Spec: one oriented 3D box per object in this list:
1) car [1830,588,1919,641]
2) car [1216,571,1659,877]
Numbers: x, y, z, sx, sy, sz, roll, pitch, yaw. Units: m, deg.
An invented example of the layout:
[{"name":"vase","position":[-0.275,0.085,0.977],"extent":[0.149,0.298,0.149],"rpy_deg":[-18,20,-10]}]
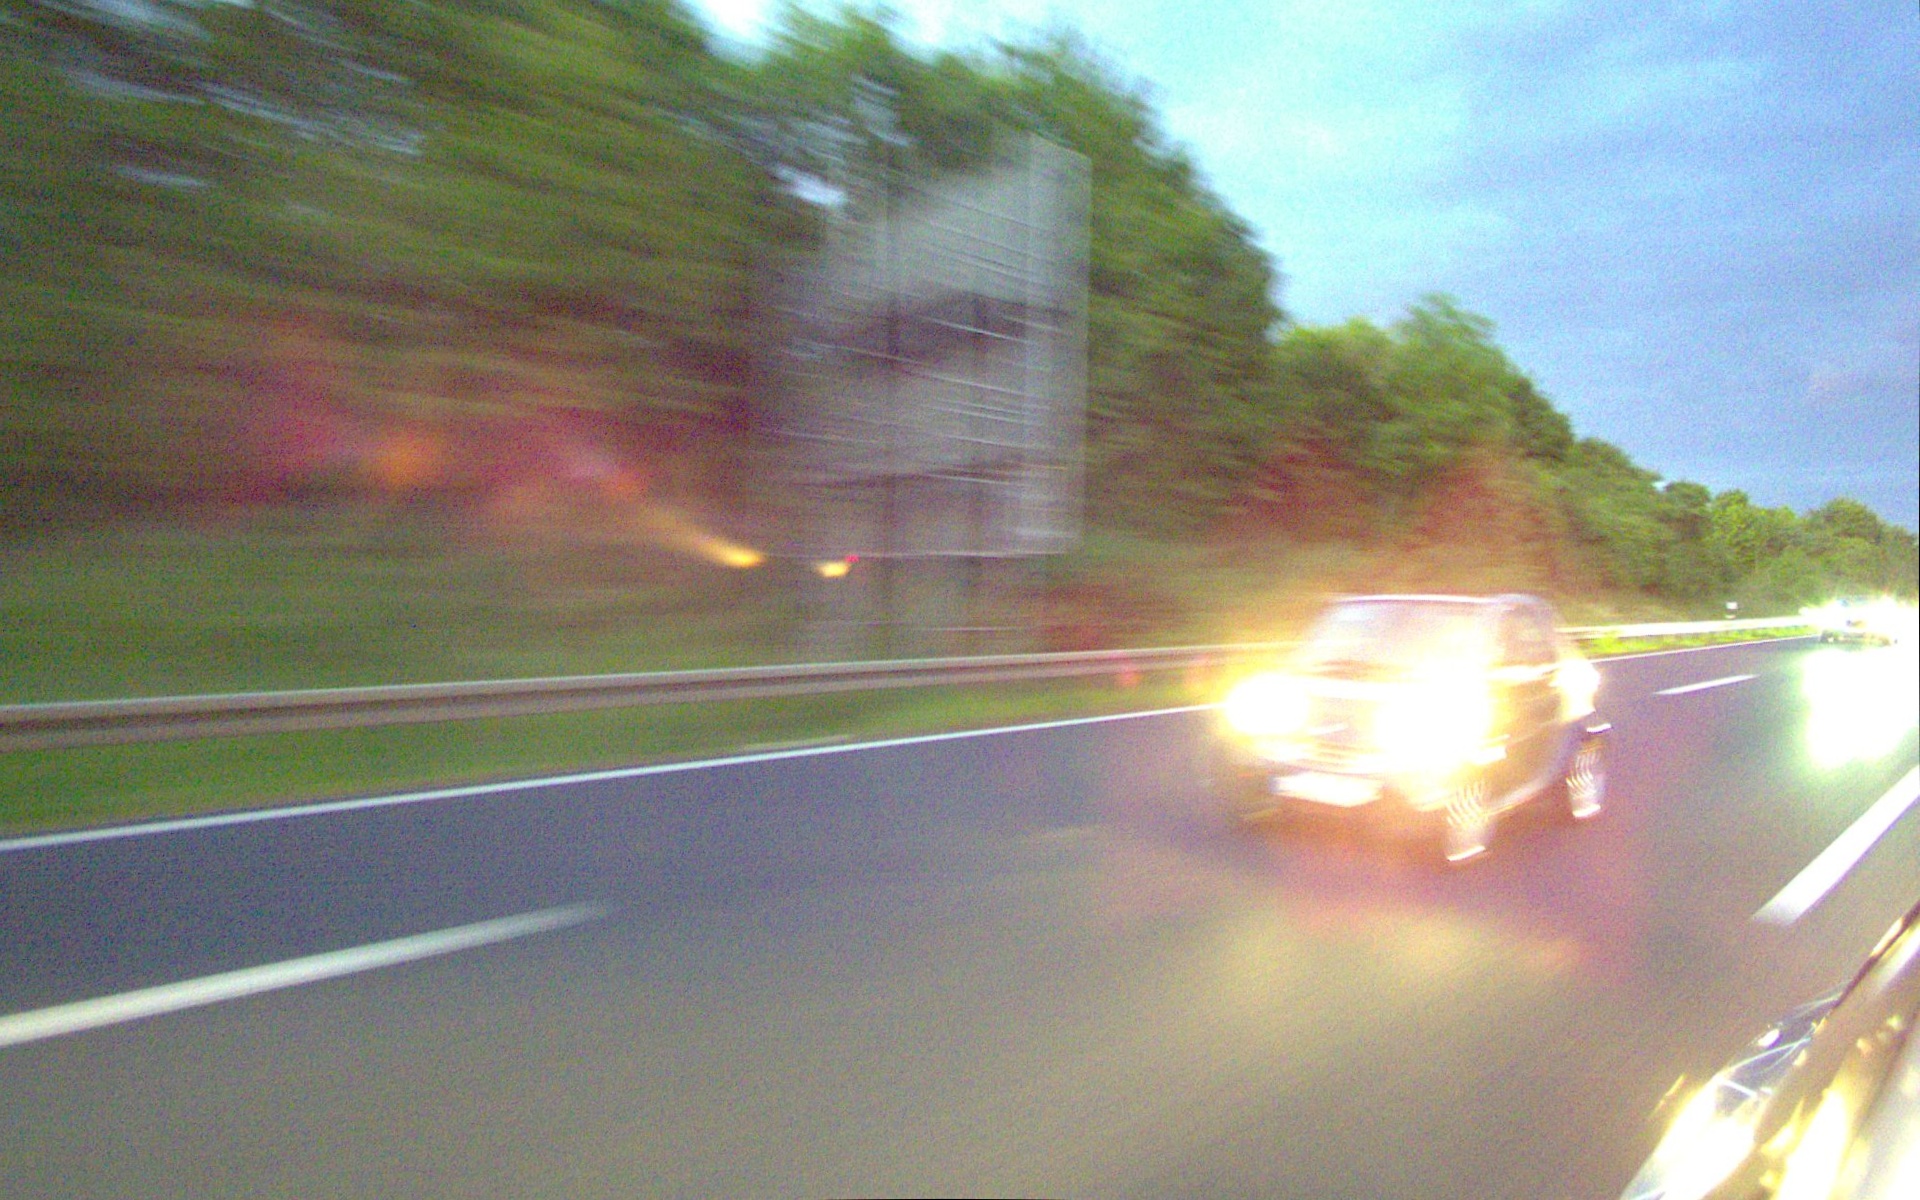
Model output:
[{"name":"car","position":[32.354,0.464,35.692],"extent":[5.071,1.665,1.801],"rpy_deg":[0,3,-42]},{"name":"car","position":[3.400,0.615,6.990],"extent":[3.262,1.575,1.613],"rpy_deg":[-1,2,-42]}]
